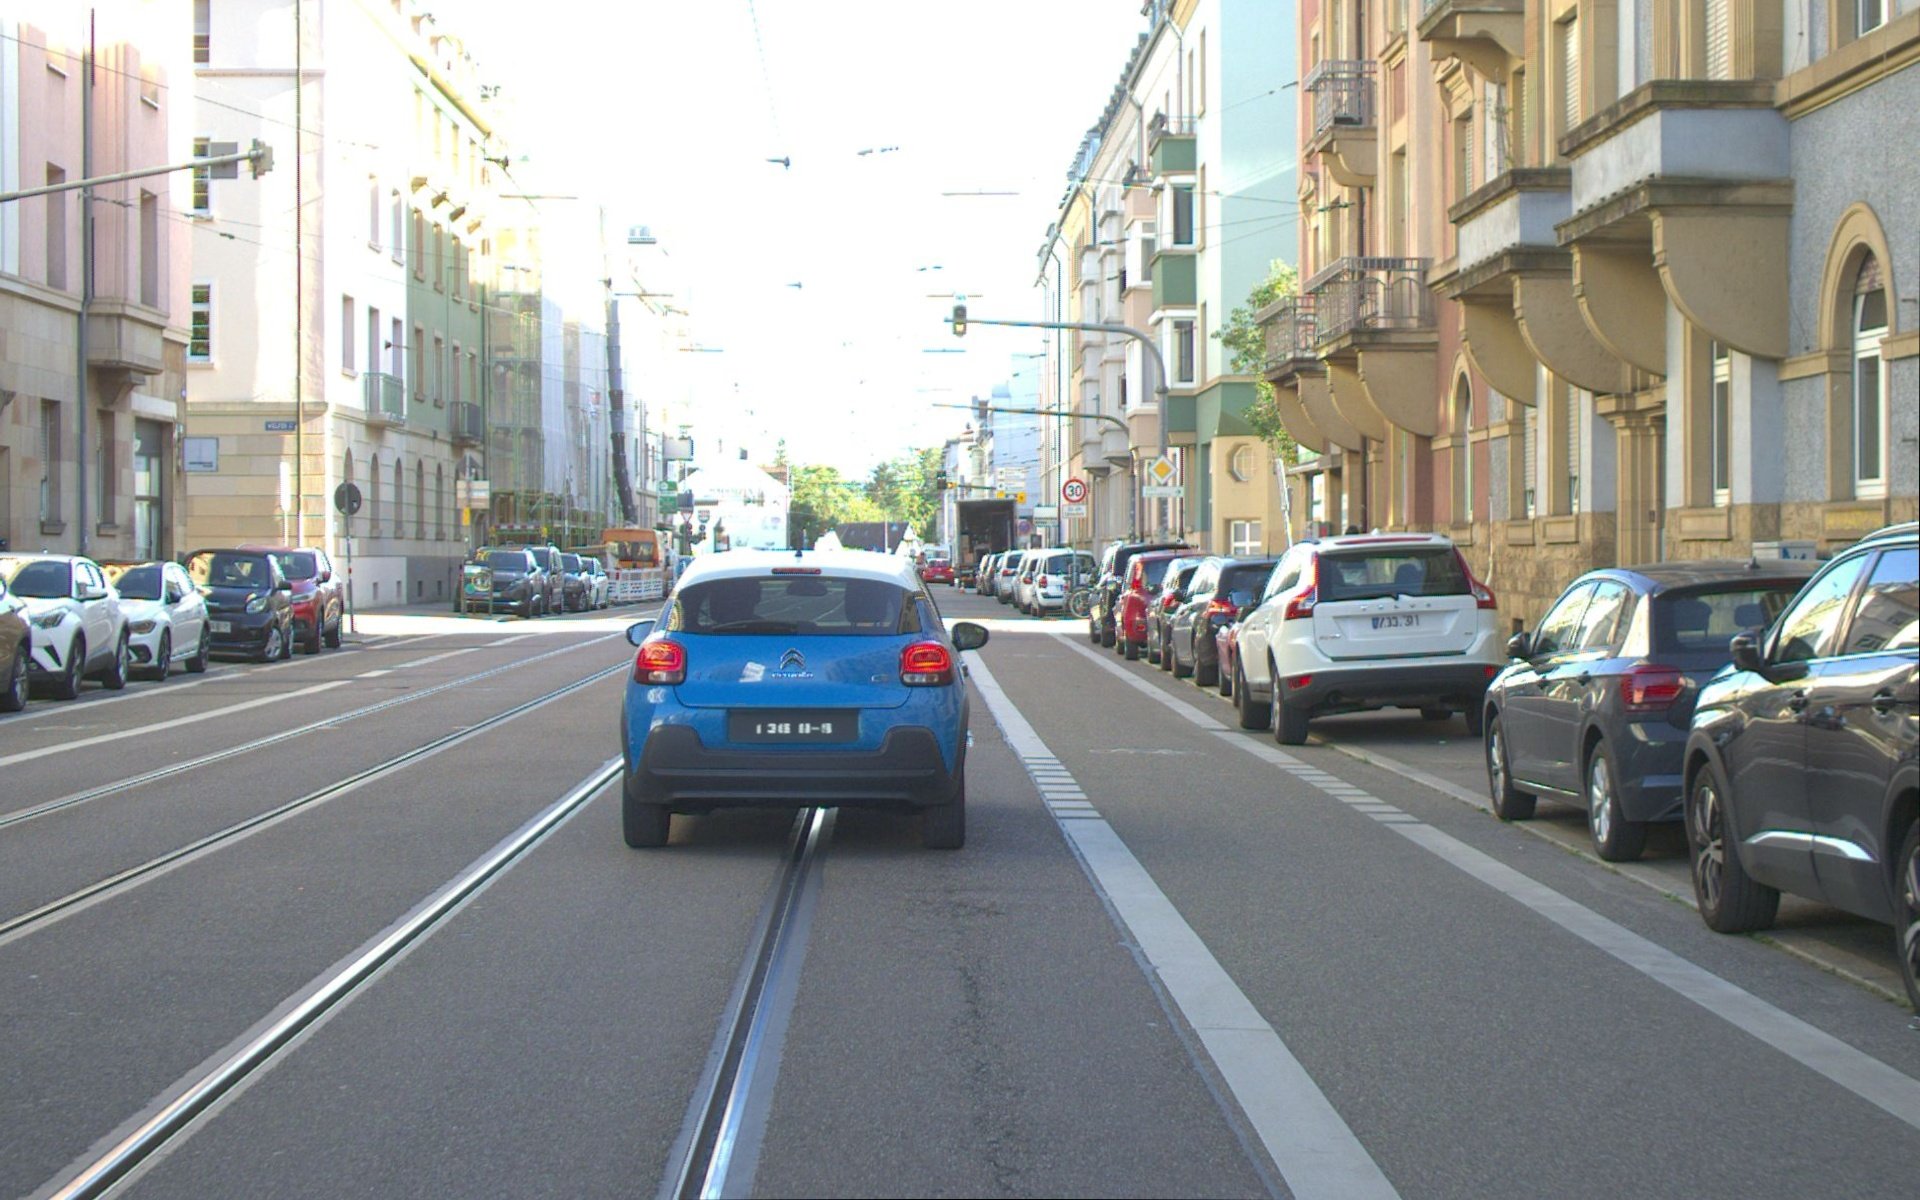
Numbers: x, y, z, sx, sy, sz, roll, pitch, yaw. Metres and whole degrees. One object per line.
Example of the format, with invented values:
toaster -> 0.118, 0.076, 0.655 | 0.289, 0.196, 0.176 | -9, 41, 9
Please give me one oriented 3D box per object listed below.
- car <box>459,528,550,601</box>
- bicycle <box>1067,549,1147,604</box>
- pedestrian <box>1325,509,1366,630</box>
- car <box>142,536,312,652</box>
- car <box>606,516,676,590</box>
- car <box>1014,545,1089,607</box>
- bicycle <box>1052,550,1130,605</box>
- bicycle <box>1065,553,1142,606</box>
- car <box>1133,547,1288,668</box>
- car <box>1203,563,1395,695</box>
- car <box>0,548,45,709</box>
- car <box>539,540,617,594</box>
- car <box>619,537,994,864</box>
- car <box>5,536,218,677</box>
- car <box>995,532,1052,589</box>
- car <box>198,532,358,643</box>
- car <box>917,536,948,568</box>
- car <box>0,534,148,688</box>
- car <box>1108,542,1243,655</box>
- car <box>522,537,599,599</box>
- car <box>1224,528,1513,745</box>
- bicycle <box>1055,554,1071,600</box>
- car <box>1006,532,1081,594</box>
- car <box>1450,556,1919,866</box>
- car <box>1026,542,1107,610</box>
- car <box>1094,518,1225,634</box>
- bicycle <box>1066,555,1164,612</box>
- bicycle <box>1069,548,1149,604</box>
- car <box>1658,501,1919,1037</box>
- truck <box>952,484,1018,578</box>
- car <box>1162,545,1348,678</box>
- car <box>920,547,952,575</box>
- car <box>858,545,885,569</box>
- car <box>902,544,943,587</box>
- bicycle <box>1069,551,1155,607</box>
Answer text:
car -> -11.089, -0.878, 83.895 | 1.783, 1.684, 4.668 | 2, 1, -3
bicycle -> 3.355, -0.547, 78.517 | 1.722, 1.150, 0.469 | -4, 1, 0
pedestrian -> 5.392, -0.433, 48.123 | 0.513, 1.681, 0.448 | 0, 1, -1
car -> -10.381, -0.110, 48.876 | 1.783, 1.547, 3.019 | 2, 1, -1
car -> -11.000, -1.623, 118.764 | 2.144, 2.467, 4.981 | 1, 1, -3
car -> 2.362, -0.641, 89.605 | 1.783, 1.570, 4.326 | 0, 1, -1
bicycle -> 3.016, -0.523, 79.197 | 1.722, 1.150, 0.469 | -4, 1, 0
bicycle -> 3.369, -0.485, 80.889 | 1.722, 1.150, 0.469 | -4, 1, 0
car -> 3.270, 0.057, 45.582 | 1.654, 1.508, 4.474 | 0, 1, -1
car -> 3.440, 0.256, 35.532 | 1.654, 1.245, 4.505 | 0, 1, 1
car -> -10.058, 0.265, 32.450 | 1.783, 1.518, 4.360 | 2, 1, -2
car -> -11.264, -0.995, 101.598 | 1.718, 1.497, 4.388 | 2, 1, 1
car -> -0.751, 0.443, 18.305 | 1.735, 1.502, 3.993 | 2, 1, -1
car -> -10.499, 0.035, 42.806 | 1.783, 1.616, 4.180 | 2, 1, -3
car -> 2.079, -1.307, 112.961 | 1.730, 1.821, 4.687 | 0, 1, -1
car -> -10.565, -0.229, 53.505 | 1.783, 1.601, 4.398 | 2, 1, -3
car -> -2.001, -3.470, 247.097 | 2.220, 2.276, 4.084 | 0, 1, -1
car -> -10.267, 0.074, 37.870 | 1.771, 1.541, 4.366 | 2, 1, -3
car -> 3.112, -0.050, 50.177 | 1.753, 1.589, 3.730 | 0, 1, 0
car -> -11.082, -0.906, 95.550 | 1.783, 1.621, 4.610 | 2, 1, -3
car -> 3.345, 0.242, 28.953 | 1.843, 1.685, 4.505 | 0, 1, -1
bicycle -> 2.366, -0.534, 78.990 | 0.353, 1.041, 1.728 | 0, 1, 1
car -> 2.411, -1.088, 100.578 | 1.654, 1.746, 4.604 | 0, 1, -5
car -> 3.809, 0.497, 18.191 | 1.737, 1.437, 4.033 | 0, 1, -2
car -> 2.575, -0.604, 83.855 | 1.783, 1.626, 4.000 | 0, 1, -1
car -> 3.246, -0.417, 56.682 | 1.753, 1.730, 4.507 | -3, 1, 0
bicycle -> 3.424, -0.375, 76.048 | 2.086, 1.150, 0.848 | -3, 1, 0
bicycle -> 3.380, -0.546, 77.970 | 1.722, 1.150, 0.469 | -4, 1, 0
car -> 3.912, 0.490, 12.463 | 1.859, 1.660, 4.562 | 0, 1, 0
truck -> 1.106, -3.068, 154.763 | 2.853, 4.069, 11.271 | 0, 1, 0
car -> 3.418, 0.091, 40.497 | 1.654, 1.478, 4.475 | 0, 1, -2
car -> -1.316, -2.156, 188.052 | 1.765, 1.481, 4.032 | 0, 1, -1
car -> -6.218, -3.041, 241.773 | 1.826, 1.626, 4.491 | 0, 1, -1
car -> -1.713, -1.601, 157.285 | 1.821, 1.888, 4.000 | 1, 1, -1
bicycle -> 3.387, -0.472, 76.733 | 1.842, 1.150, 0.469 | -4, 1, 0
